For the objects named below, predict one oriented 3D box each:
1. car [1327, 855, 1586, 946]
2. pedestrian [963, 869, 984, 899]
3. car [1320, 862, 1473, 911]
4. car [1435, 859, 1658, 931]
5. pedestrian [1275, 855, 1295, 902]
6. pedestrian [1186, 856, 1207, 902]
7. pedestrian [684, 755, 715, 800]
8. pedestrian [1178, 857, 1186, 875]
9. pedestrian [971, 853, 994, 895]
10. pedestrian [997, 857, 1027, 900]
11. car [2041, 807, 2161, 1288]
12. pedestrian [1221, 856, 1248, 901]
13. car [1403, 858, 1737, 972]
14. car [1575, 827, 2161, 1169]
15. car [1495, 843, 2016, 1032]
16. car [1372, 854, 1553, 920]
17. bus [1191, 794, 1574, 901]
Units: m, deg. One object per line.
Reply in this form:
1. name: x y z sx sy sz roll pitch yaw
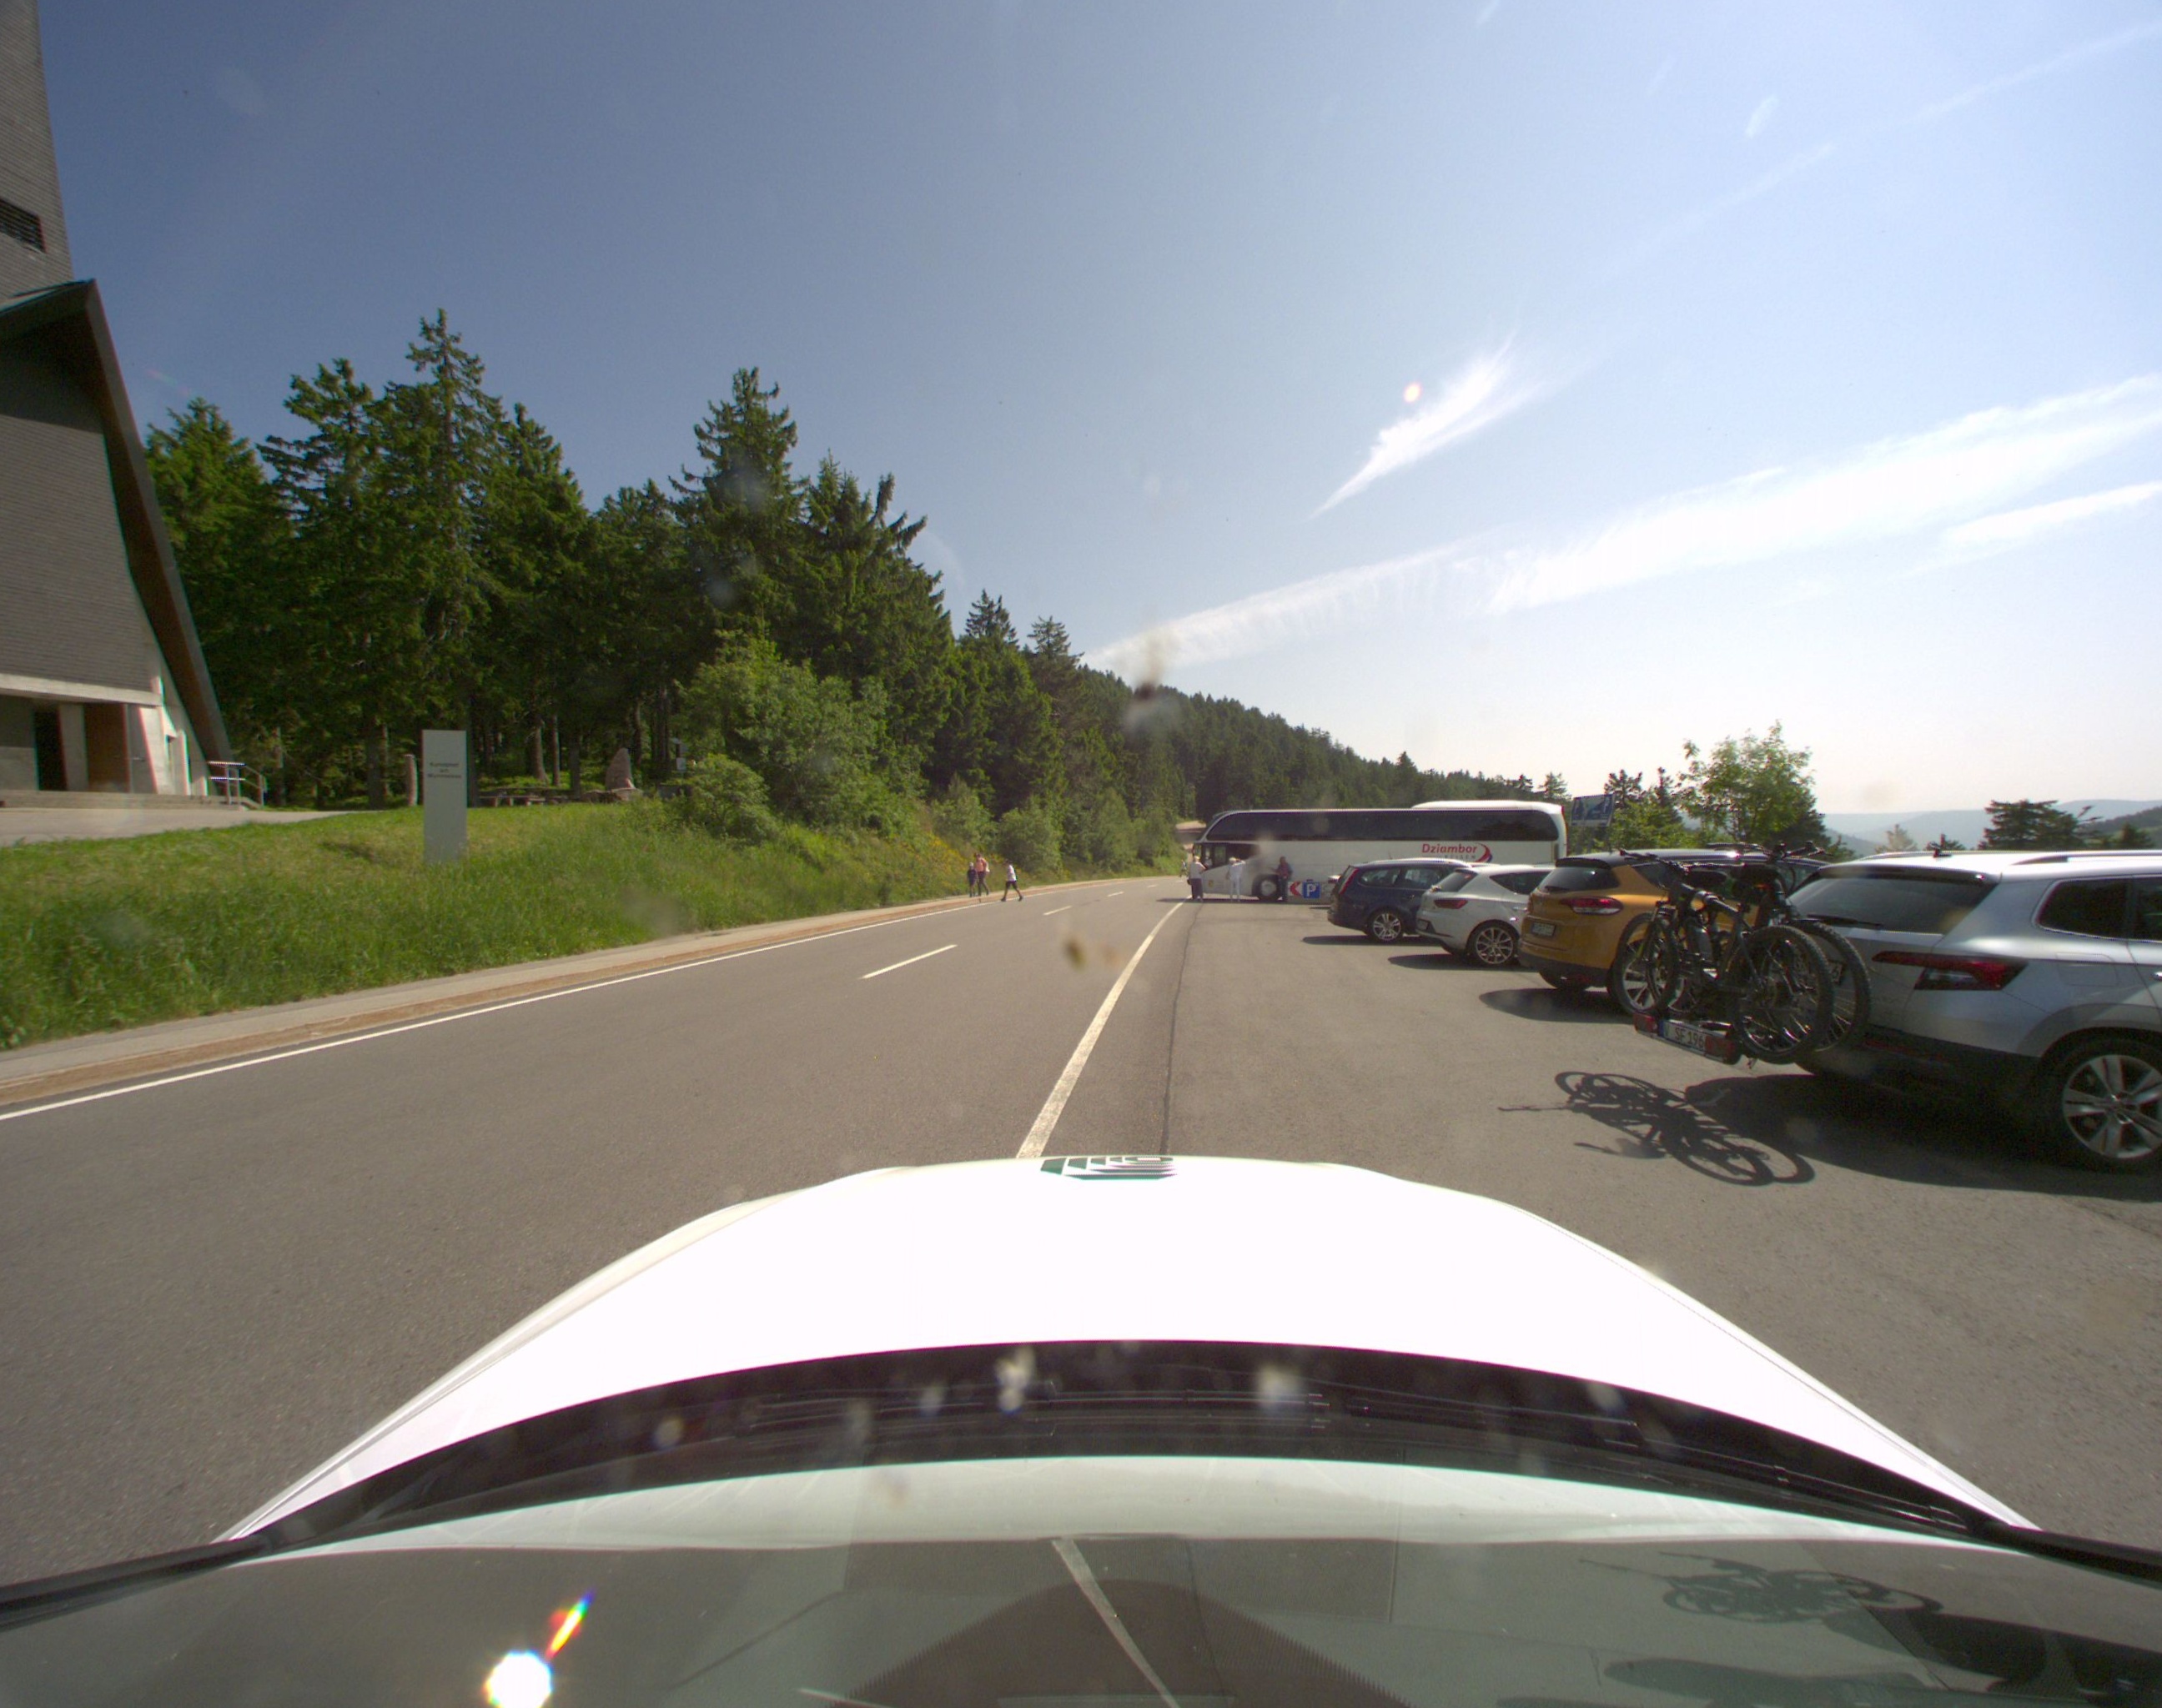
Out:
1. car: 6.758 0.795 15.075 4.104 1.544 1.677 0 0 11
2. pedestrian: -4.073 1.136 30.836 0.565 1.102 0.747 -1 0 11
3. car: 9.907 0.991 25.823 4.388 1.396 1.726 0 0 18
4. car: 10.148 0.847 18.058 3.959 1.420 1.773 1 0 13
5. pedestrian: 7.308 0.879 29.181 0.639 1.643 0.748 -1 0 16
6. pedestrian: 4.214 0.900 29.839 0.703 1.643 0.746 -1 0 6
7. pedestrian: -14.496 -2.879 30.937 0.805 1.629 0.743 0 -1 4
8. pedestrian: 9.684 1.128 77.957 0.678 1.746 0.827 0 -1 8
9. pedestrian: -3.853 0.771 31.916 0.572 1.643 0.897 -1 0 11
10. pedestrian: -2.538 0.900 30.028 0.884 1.538 0.575 -1 0 -39
11. car: 5.799 0.722 2.070 4.398 1.618 1.755 2 0 4
12. pedestrian: 5.530 0.883 29.335 0.638 1.596 0.749 -2 0 40
13. car: 6.921 0.826 11.882 3.862 1.420 1.617 1 -1 7
14. car: 5.825 0.720 4.908 4.455 1.627 2.016 1 0 4
15. car: 6.669 0.755 8.460 3.857 1.615 1.713 2 0 6
16. car: 9.732 0.814 21.074 3.959 1.574 1.773 0 0 13
17. bus: 10.666 -0.155 30.200 12.749 3.577 2.851 -1 -1 15
